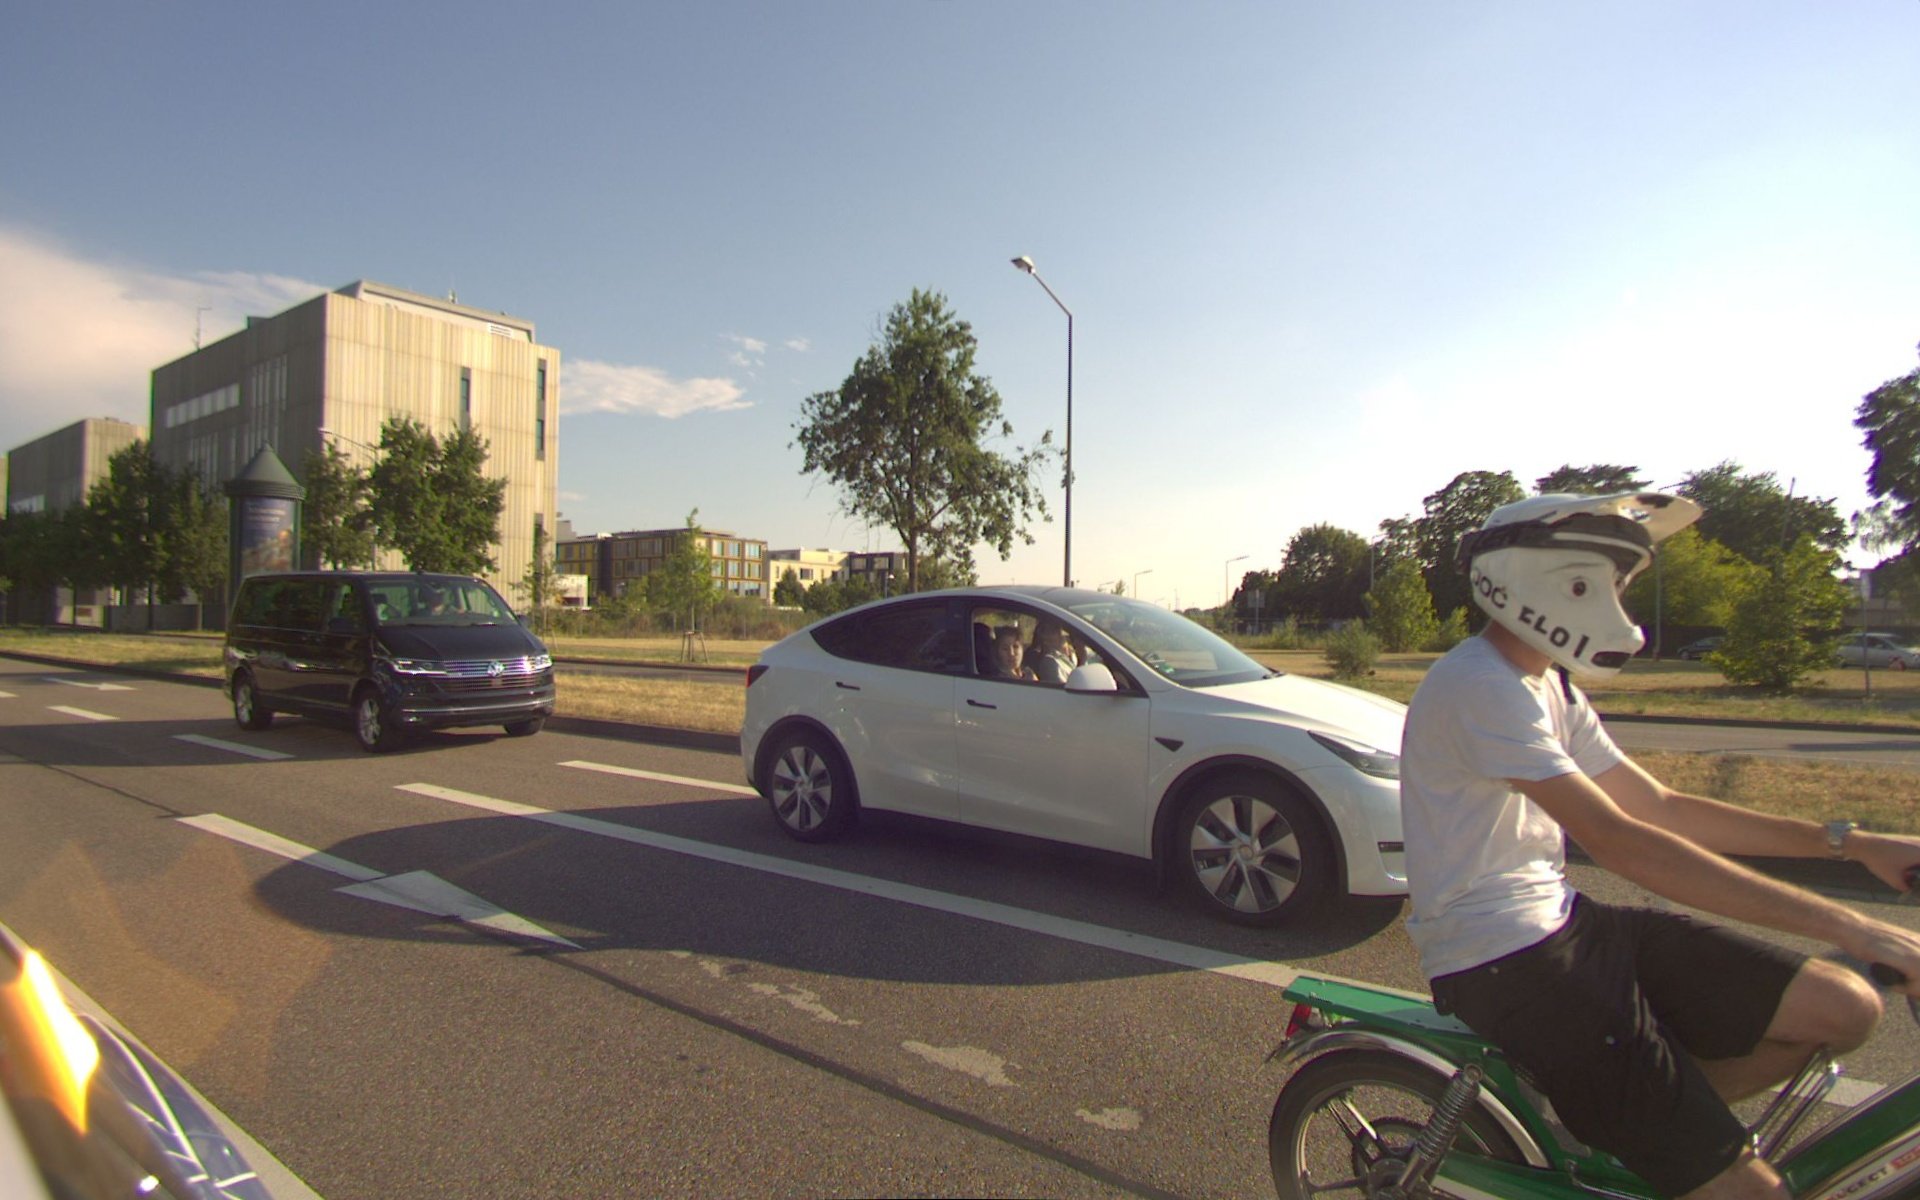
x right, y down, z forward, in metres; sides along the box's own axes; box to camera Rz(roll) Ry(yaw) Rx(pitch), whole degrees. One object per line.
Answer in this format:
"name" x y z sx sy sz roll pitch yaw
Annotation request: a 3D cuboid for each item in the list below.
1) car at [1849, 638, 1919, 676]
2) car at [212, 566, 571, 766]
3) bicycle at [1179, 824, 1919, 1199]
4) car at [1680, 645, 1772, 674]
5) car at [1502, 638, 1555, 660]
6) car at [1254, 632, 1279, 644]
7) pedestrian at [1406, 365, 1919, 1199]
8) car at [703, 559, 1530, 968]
"car" 40.647 2.424 43.148 1.630 1.537 3.951 1 -2 -8
"car" -6.904 0.663 12.058 5.003 1.947 1.839 -1 -1 36
"bicycle" 1.293 0.954 1.615 1.855 0.882 0.472 -1 -3 41
"car" 44.257 3.413 58.583 1.631 1.537 4.407 0 -2 -7
"car" 41.559 3.542 74.065 1.557 1.558 3.383 1 -2 -10
"car" 32.045 3.979 105.955 1.315 1.302 2.810 1 -2 -10
"pedestrian" 1.290 0.474 1.670 0.854 1.530 0.649 -1 -3 41
"car" 0.646 0.682 6.091 4.669 1.611 1.719 -1 -1 37
